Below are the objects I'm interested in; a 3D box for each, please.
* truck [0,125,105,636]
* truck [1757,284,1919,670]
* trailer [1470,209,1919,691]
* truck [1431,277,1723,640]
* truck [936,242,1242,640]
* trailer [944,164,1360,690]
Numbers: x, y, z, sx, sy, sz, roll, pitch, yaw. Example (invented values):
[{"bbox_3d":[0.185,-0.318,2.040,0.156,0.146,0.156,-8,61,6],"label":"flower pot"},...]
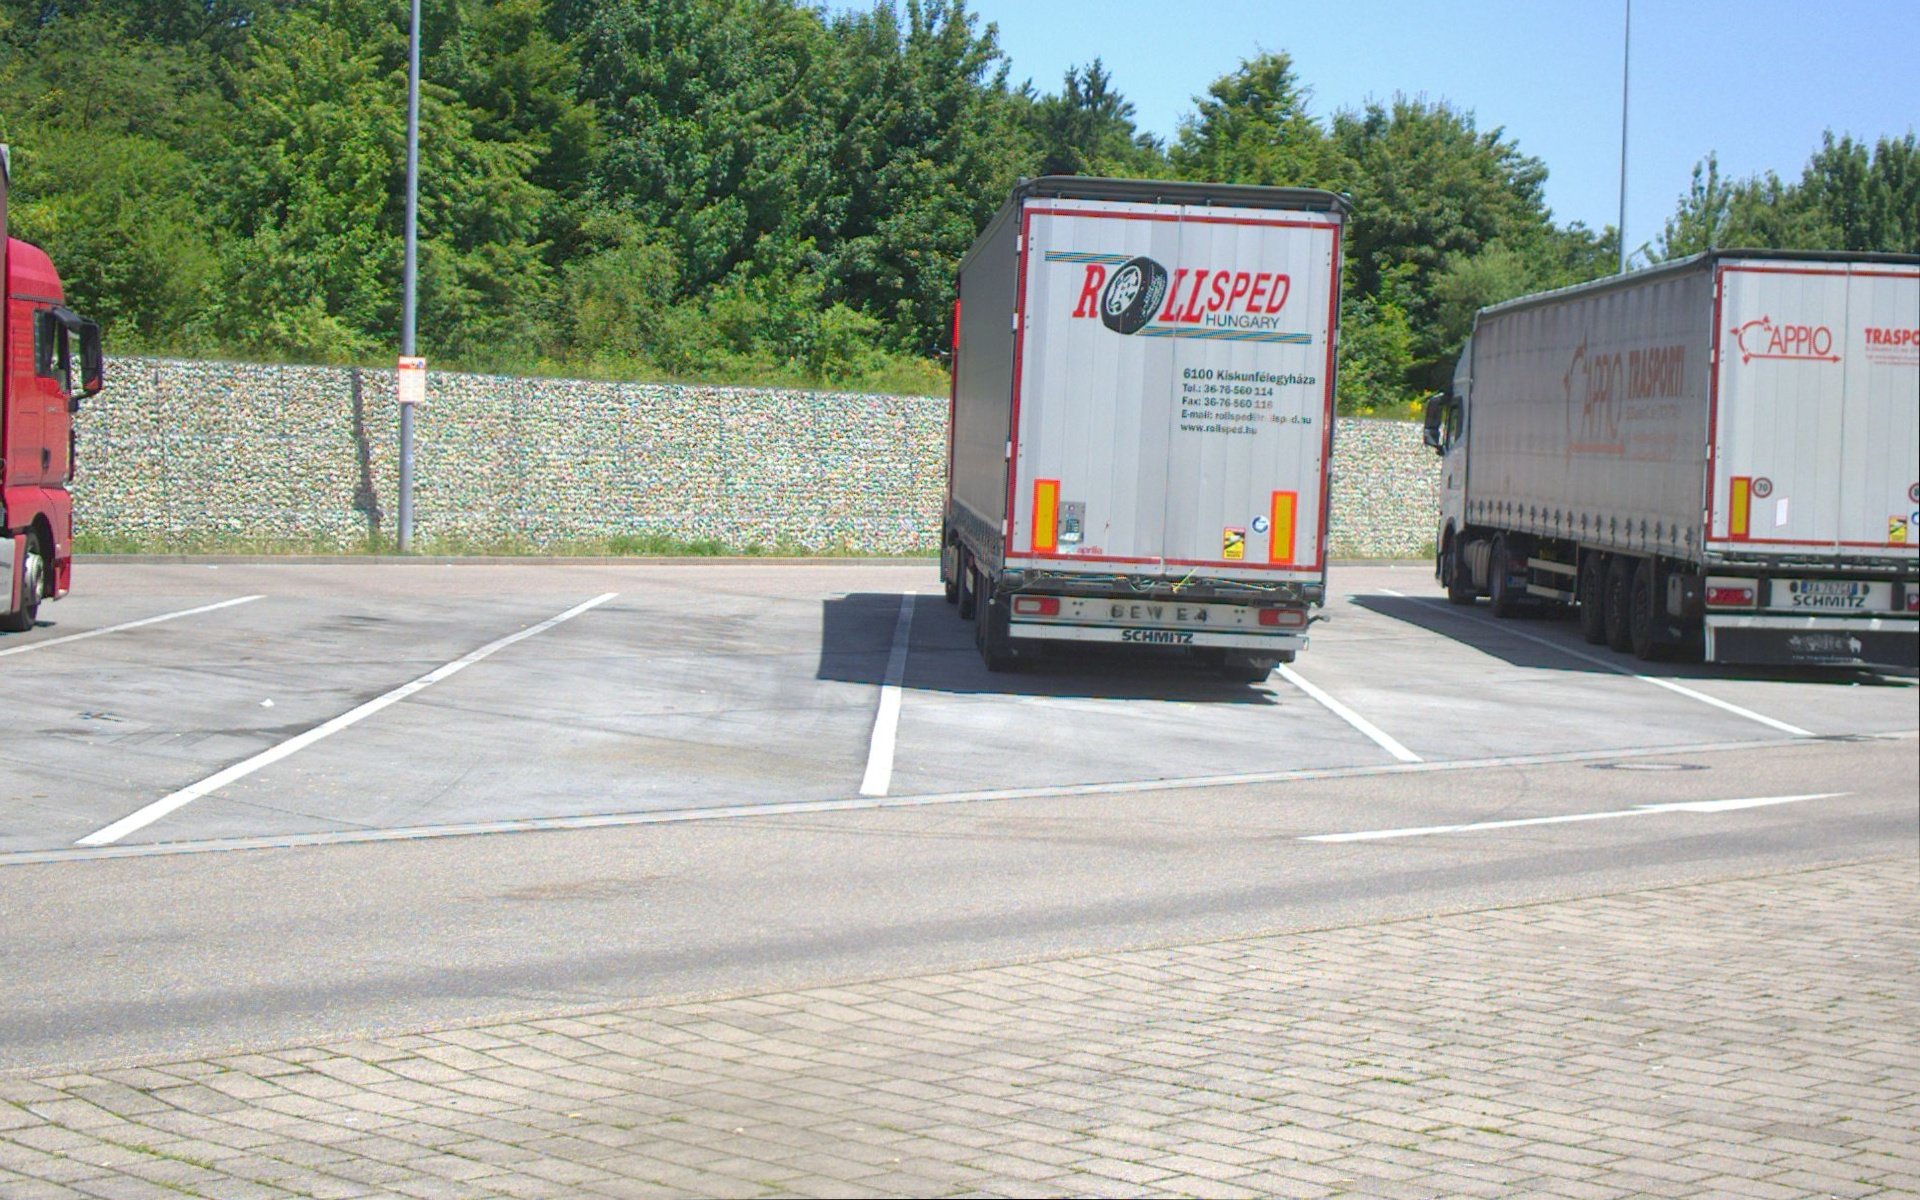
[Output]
[{"bbox_3d":[-9.162,-1.799,28.355,2.805,4.119,5.894,1,2,-1],"label":"truck"},{"bbox_3d":[11.744,-1.345,38.676,2.587,4.211,11.971,1,1,-1],"label":"truck"},{"bbox_3d":[8.125,-1.586,38.228,2.681,4.437,12.831,1,2,-1],"label":"trailer"},{"bbox_3d":[7.993,-1.832,45.240,2.661,4.437,5.864,1,2,-1],"label":"truck"},{"bbox_3d":[1.276,-1.695,37.638,2.871,3.967,6.030,1,2,-2],"label":"truck"},{"bbox_3d":[1.442,-1.505,32.003,2.897,4.000,11.318,1,2,-2],"label":"trailer"}]
